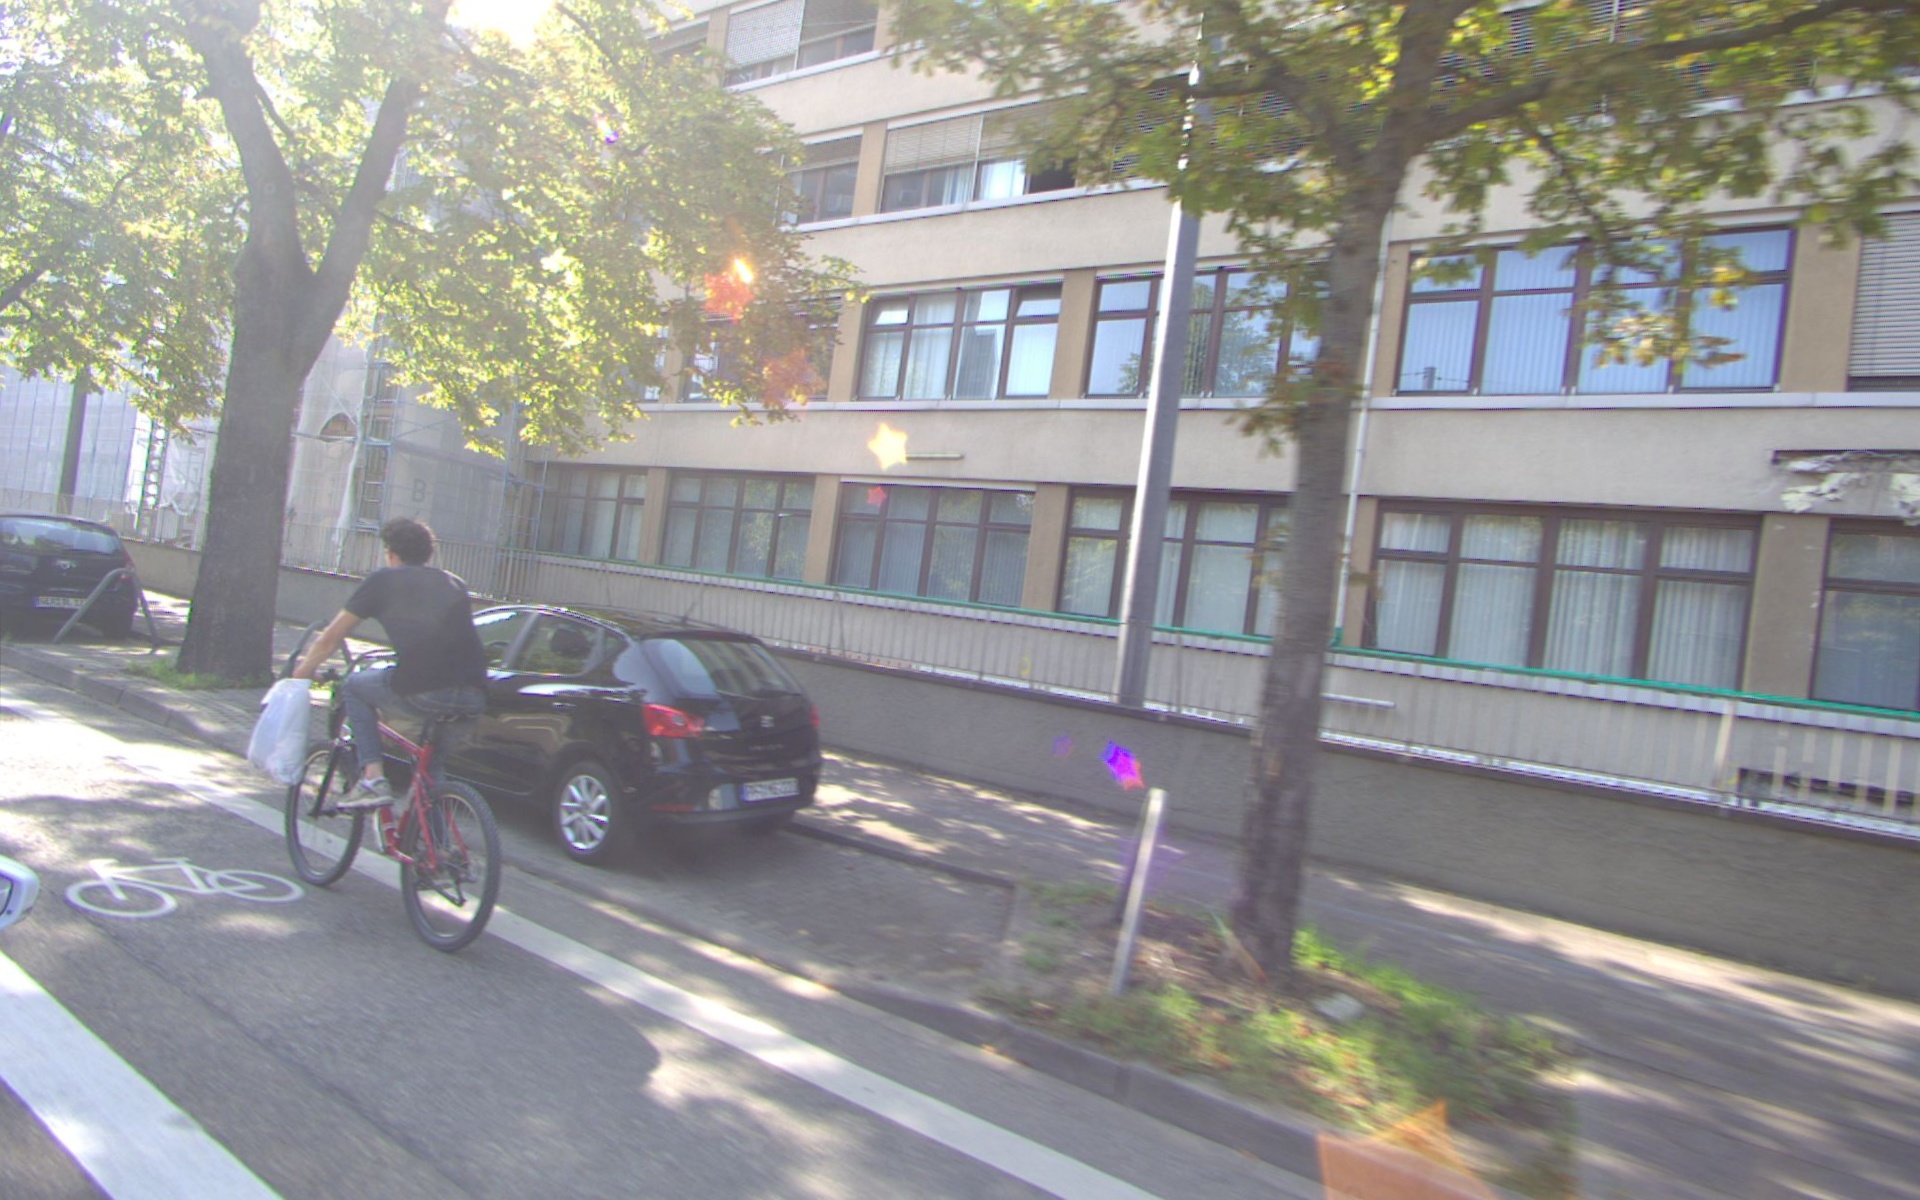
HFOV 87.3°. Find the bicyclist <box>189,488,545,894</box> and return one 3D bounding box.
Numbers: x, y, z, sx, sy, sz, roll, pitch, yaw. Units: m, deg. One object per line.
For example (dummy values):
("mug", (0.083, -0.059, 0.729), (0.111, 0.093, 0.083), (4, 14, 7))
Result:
("bicyclist", (-2.574, 0.343, 4.372), (1.098, 1.487, 0.788), (7, -1, 34))

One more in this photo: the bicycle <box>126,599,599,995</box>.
("bicycle", (-2.691, 0.714, 4.410), (2.268, 1.158, 0.788), (6, -1, 34))

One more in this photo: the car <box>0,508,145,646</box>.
("car", (-12.451, -0.405, 13.139), (3.716, 1.530, 1.647), (6, 0, 33))

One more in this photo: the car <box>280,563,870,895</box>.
("car", (-2.801, 0.699, 7.046), (4.017, 1.446, 1.648), (7, 0, 31))
